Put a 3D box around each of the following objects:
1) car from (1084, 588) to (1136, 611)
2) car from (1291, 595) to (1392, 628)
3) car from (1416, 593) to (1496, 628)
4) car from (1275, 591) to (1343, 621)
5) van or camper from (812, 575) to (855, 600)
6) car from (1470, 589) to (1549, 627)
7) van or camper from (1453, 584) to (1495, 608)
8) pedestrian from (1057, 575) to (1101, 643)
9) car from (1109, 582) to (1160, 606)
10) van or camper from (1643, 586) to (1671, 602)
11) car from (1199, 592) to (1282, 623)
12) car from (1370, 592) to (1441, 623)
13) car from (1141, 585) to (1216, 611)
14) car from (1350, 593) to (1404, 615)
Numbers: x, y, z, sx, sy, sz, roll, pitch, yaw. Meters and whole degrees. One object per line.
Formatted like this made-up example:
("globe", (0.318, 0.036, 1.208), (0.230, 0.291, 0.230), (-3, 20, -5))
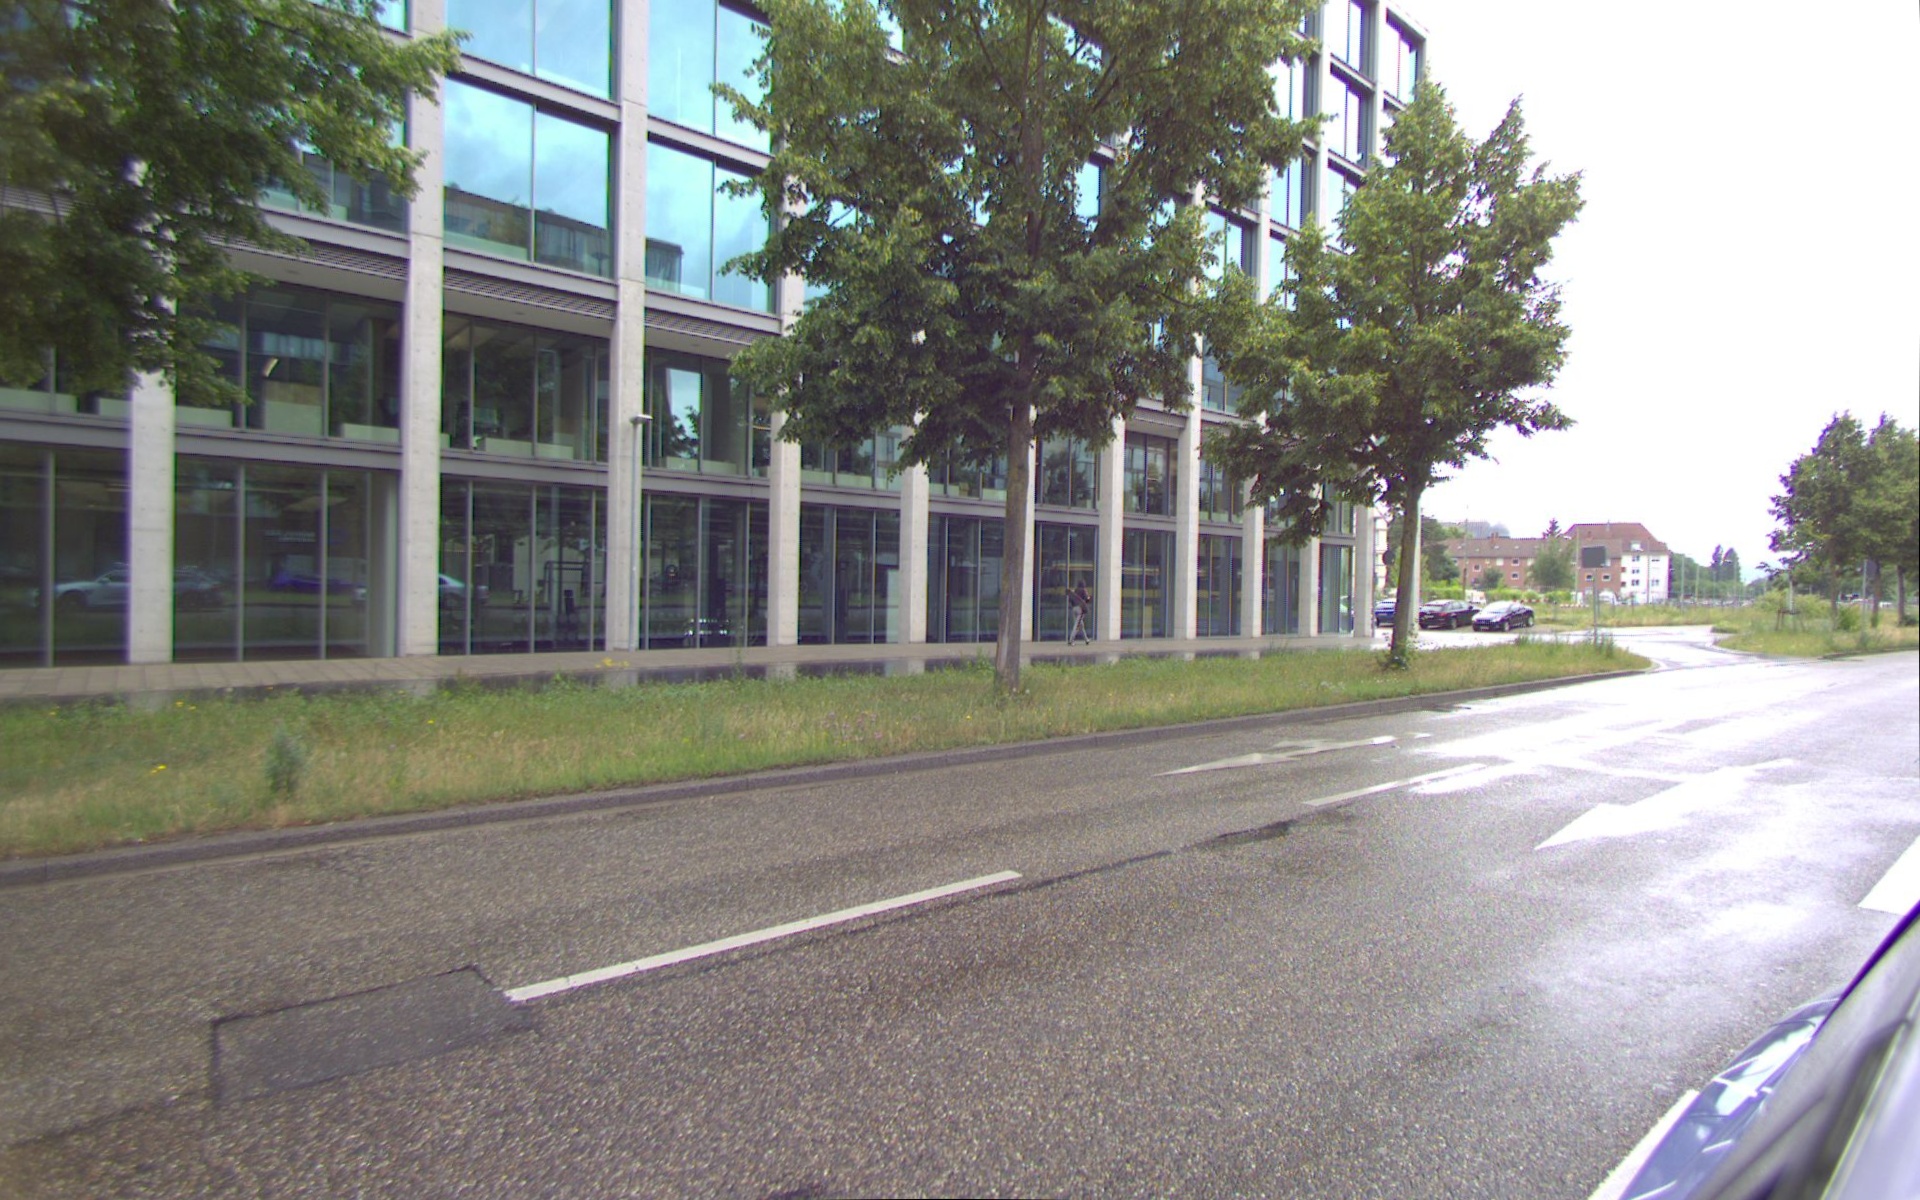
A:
("car", (11.520, -0.090, 77.431), (3.966, 1.514, 1.857), (-5, 4, -42))
("car", (18.541, 0.528, 49.328), (1.943, 1.456, 4.233), (3, -1, -34))
("car", (26.317, 0.517, 53.638), (4.473, 1.472, 1.861), (-5, 4, -35))
("car", (21.027, 0.320, 60.921), (4.151, 1.492, 1.792), (-4, 3, -35))
("van or camper", (-13.422, -1.297, 107.272), (2.054, 2.617, 5.630), (0, 0, -36))
("car", (27.971, 0.376, 51.510), (3.925, 1.599, 1.862), (-5, 3, -33))
("van or camper", (59.480, -0.453, 117.001), (6.288, 2.723, 2.311), (0, 1, -43))
("pedestrian", (3.150, 0.218, 26.722), (0.846, 1.736, 0.718), (1, 2, -41))
("car", (14.087, -0.489, 81.668), (3.955, 1.732, 1.703), (-4, 3, -32))
("van or camper", (102.202, -0.817, 148.358), (6.044, 2.337, 2.205), (0, -1, -43))
("car", (14.977, 0.396, 54.200), (1.826, 1.507, 3.999), (3, -1, -36))
("car", (24.831, 0.376, 56.423), (3.925, 1.472, 1.861), (-3, 2, -35))
("car", (12.486, -0.142, 58.016), (1.825, 1.390, 4.001), (2, 0, -34))
("car", (32.005, 0.329, 77.636), (4.152, 1.621, 1.861), (0, 1, -35))
